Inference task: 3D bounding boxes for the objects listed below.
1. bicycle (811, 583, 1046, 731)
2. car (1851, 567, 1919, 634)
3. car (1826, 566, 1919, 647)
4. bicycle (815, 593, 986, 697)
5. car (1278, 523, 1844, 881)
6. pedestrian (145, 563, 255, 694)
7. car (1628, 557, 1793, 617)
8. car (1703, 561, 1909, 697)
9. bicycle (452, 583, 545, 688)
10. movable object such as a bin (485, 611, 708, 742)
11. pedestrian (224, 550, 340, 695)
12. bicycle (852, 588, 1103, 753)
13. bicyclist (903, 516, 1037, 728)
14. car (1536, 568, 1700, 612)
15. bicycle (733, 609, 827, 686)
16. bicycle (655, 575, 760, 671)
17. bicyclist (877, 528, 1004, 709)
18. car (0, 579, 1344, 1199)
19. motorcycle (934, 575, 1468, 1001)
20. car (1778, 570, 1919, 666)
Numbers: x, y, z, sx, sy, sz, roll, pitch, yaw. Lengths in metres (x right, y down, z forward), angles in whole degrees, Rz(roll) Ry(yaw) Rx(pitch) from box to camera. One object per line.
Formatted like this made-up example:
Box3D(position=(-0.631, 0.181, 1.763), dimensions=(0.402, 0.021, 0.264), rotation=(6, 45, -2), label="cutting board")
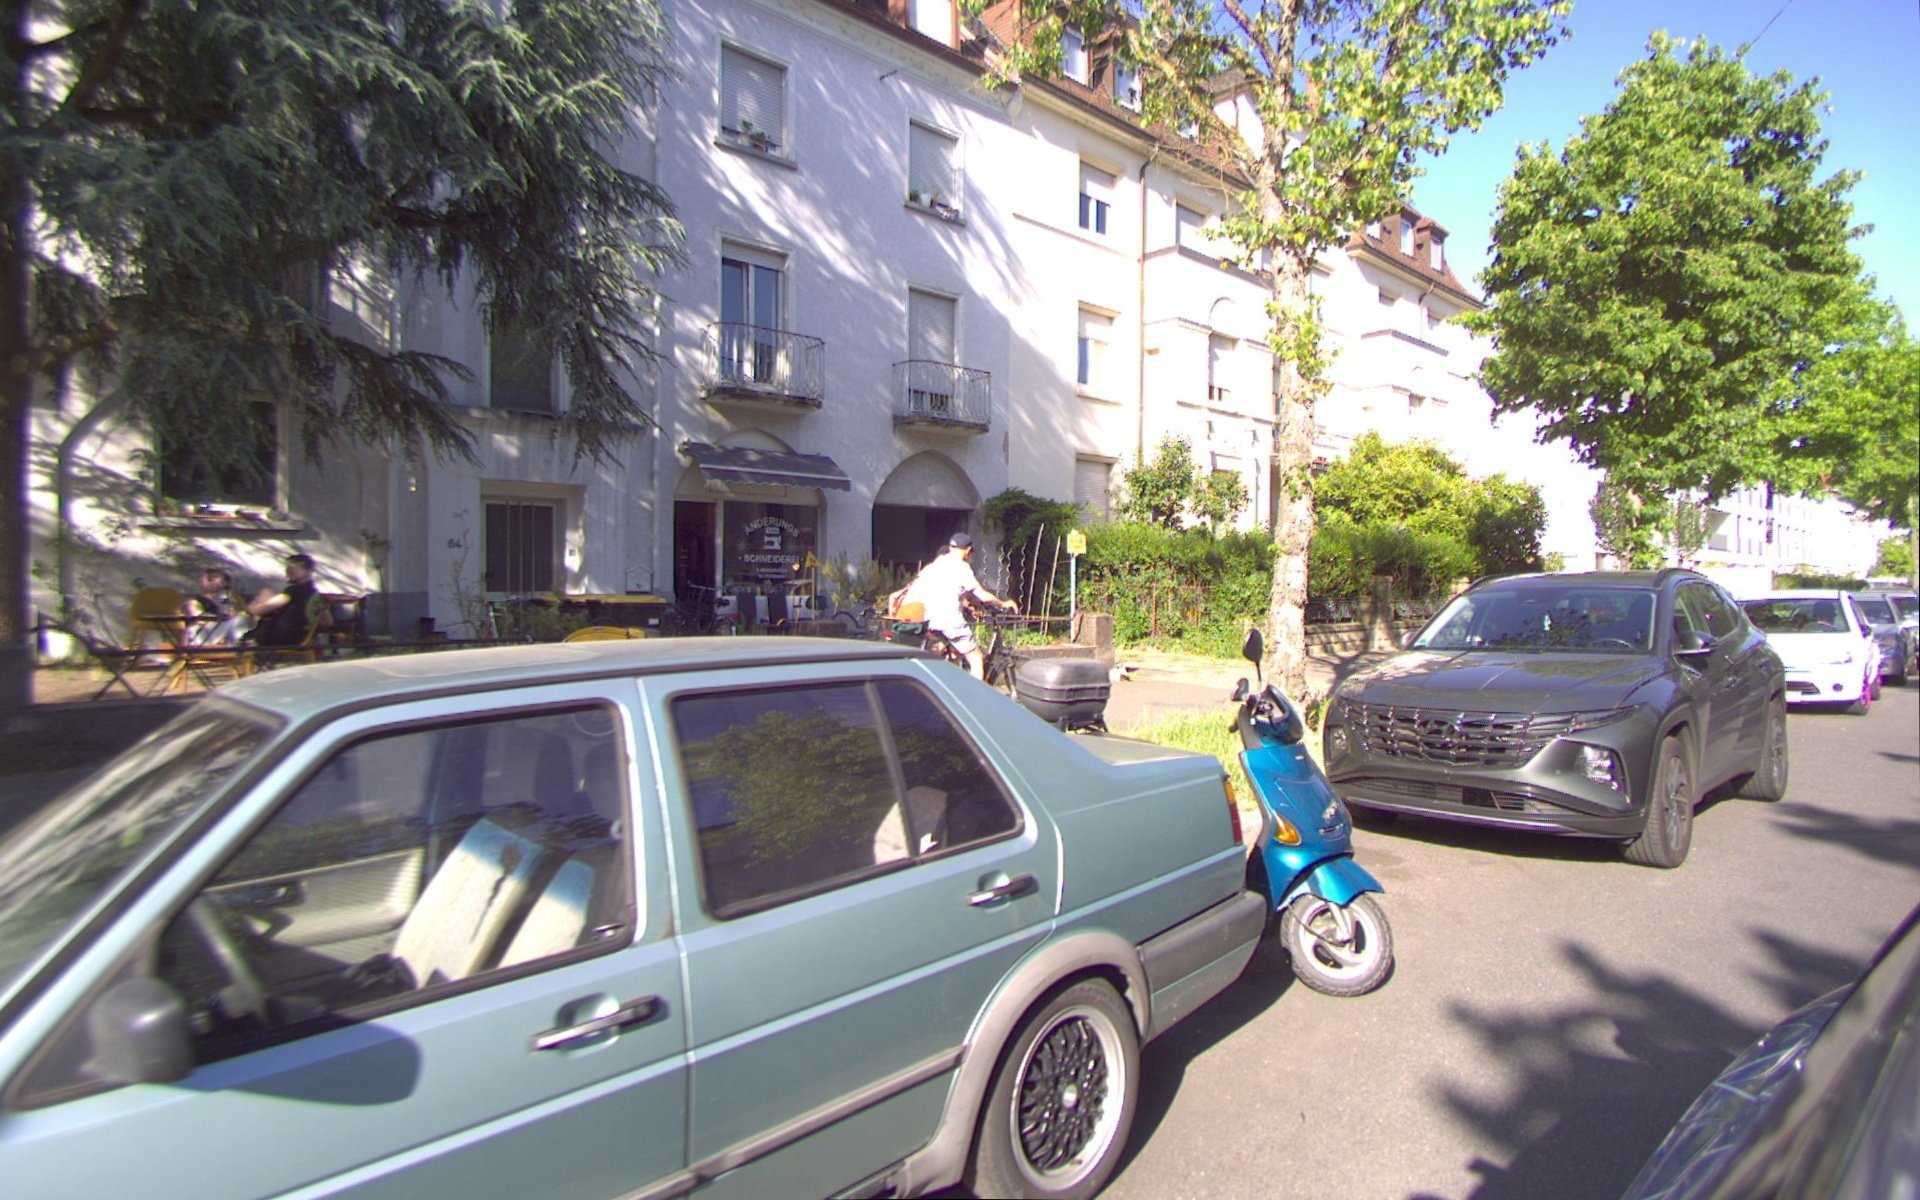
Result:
Box3D(position=(-0.217, 0.446, 9.336), dimensions=(0.684, 1.167, 2.365), rotation=(1, 2, 44), label="bicycle")
Box3D(position=(24.517, -0.049, 26.123), dimensions=(4.886, 1.543, 1.897), rotation=(-3, 2, -44), label="car")
Box3D(position=(19.163, 0.080, 20.627), dimensions=(4.828, 1.488, 1.822), rotation=(-2, 0, -44), label="car")
Box3D(position=(-0.610, 0.444, 10.915), dimensions=(1.870, 0.987, 0.582), rotation=(-1, 2, -41), label="bicycle")
Box3D(position=(4.478, 0.450, 7.121), dimensions=(5.006, 1.673, 1.929), rotation=(-1, 0, -41), label="car")
Box3D(position=(-7.036, 0.239, 9.375), dimensions=(0.743, 1.157, 0.510), rotation=(-1, 1, -44), label="pedestrian")
Box3D(position=(30.559, -0.556, 41.435), dimensions=(5.003, 2.334, 2.216), rotation=(1, 1, 25), label="car")
Box3D(position=(11.384, 0.313, 13.527), dimensions=(3.904, 1.552, 1.655), rotation=(-1, -1, -44), label="car")
Box3D(position=(-5.513, 0.370, 12.034), dimensions=(0.572, 1.114, 1.902), rotation=(-1, 2, -38), label="bicycle")
Box3D(position=(-3.021, 0.580, 8.441), dimensions=(1.629, 0.916, 1.228), rotation=(0, 1, -22), label="movable object such as a bin")
Box3D(position=(-5.687, 0.168, 8.491), dimensions=(0.743, 1.157, 0.510), rotation=(-1, 1, -41), label="pedestrian")
Box3D(position=(0.223, 0.503, 8.483), dimensions=(0.684, 1.167, 2.365), rotation=(1, 2, 44), label="bicycle")
Box3D(position=(0.086, 0.151, 8.338), dimensions=(0.677, 1.629, 0.907), rotation=(1, 2, 44), label="bicyclist")
Box3D(position=(24.059, -0.400, 37.194), dimensions=(1.913, 1.488, 4.741), rotation=(-1, 2, -27), label="car")
Box3D(position=(-2.057, 0.511, 11.448), dimensions=(0.463, 0.766, 1.366), rotation=(-1, 2, -38), label="bicycle")
Box3D(position=(-3.259, 0.256, 12.939), dimensions=(0.572, 1.114, 1.902), rotation=(-1, 2, -38), label="bicycle")
Box3D(position=(-0.172, 0.140, 9.387), dimensions=(0.676, 1.572, 1.006), rotation=(1, 2, 44), label="bicyclist")
Box3D(position=(-1.060, 0.734, 2.235), dimensions=(4.386, 1.473, 1.752), rotation=(-1, -1, -42), label="car")
Box3D(position=(0.907, 0.611, 4.518), dimensions=(0.676, 1.440, 2.354), rotation=(-1, 2, -42), label="motorcycle")
Box3D(position=(15.510, 0.231, 17.357), dimensions=(4.781, 1.428, 1.712), rotation=(-2, 0, -44), label="car")
